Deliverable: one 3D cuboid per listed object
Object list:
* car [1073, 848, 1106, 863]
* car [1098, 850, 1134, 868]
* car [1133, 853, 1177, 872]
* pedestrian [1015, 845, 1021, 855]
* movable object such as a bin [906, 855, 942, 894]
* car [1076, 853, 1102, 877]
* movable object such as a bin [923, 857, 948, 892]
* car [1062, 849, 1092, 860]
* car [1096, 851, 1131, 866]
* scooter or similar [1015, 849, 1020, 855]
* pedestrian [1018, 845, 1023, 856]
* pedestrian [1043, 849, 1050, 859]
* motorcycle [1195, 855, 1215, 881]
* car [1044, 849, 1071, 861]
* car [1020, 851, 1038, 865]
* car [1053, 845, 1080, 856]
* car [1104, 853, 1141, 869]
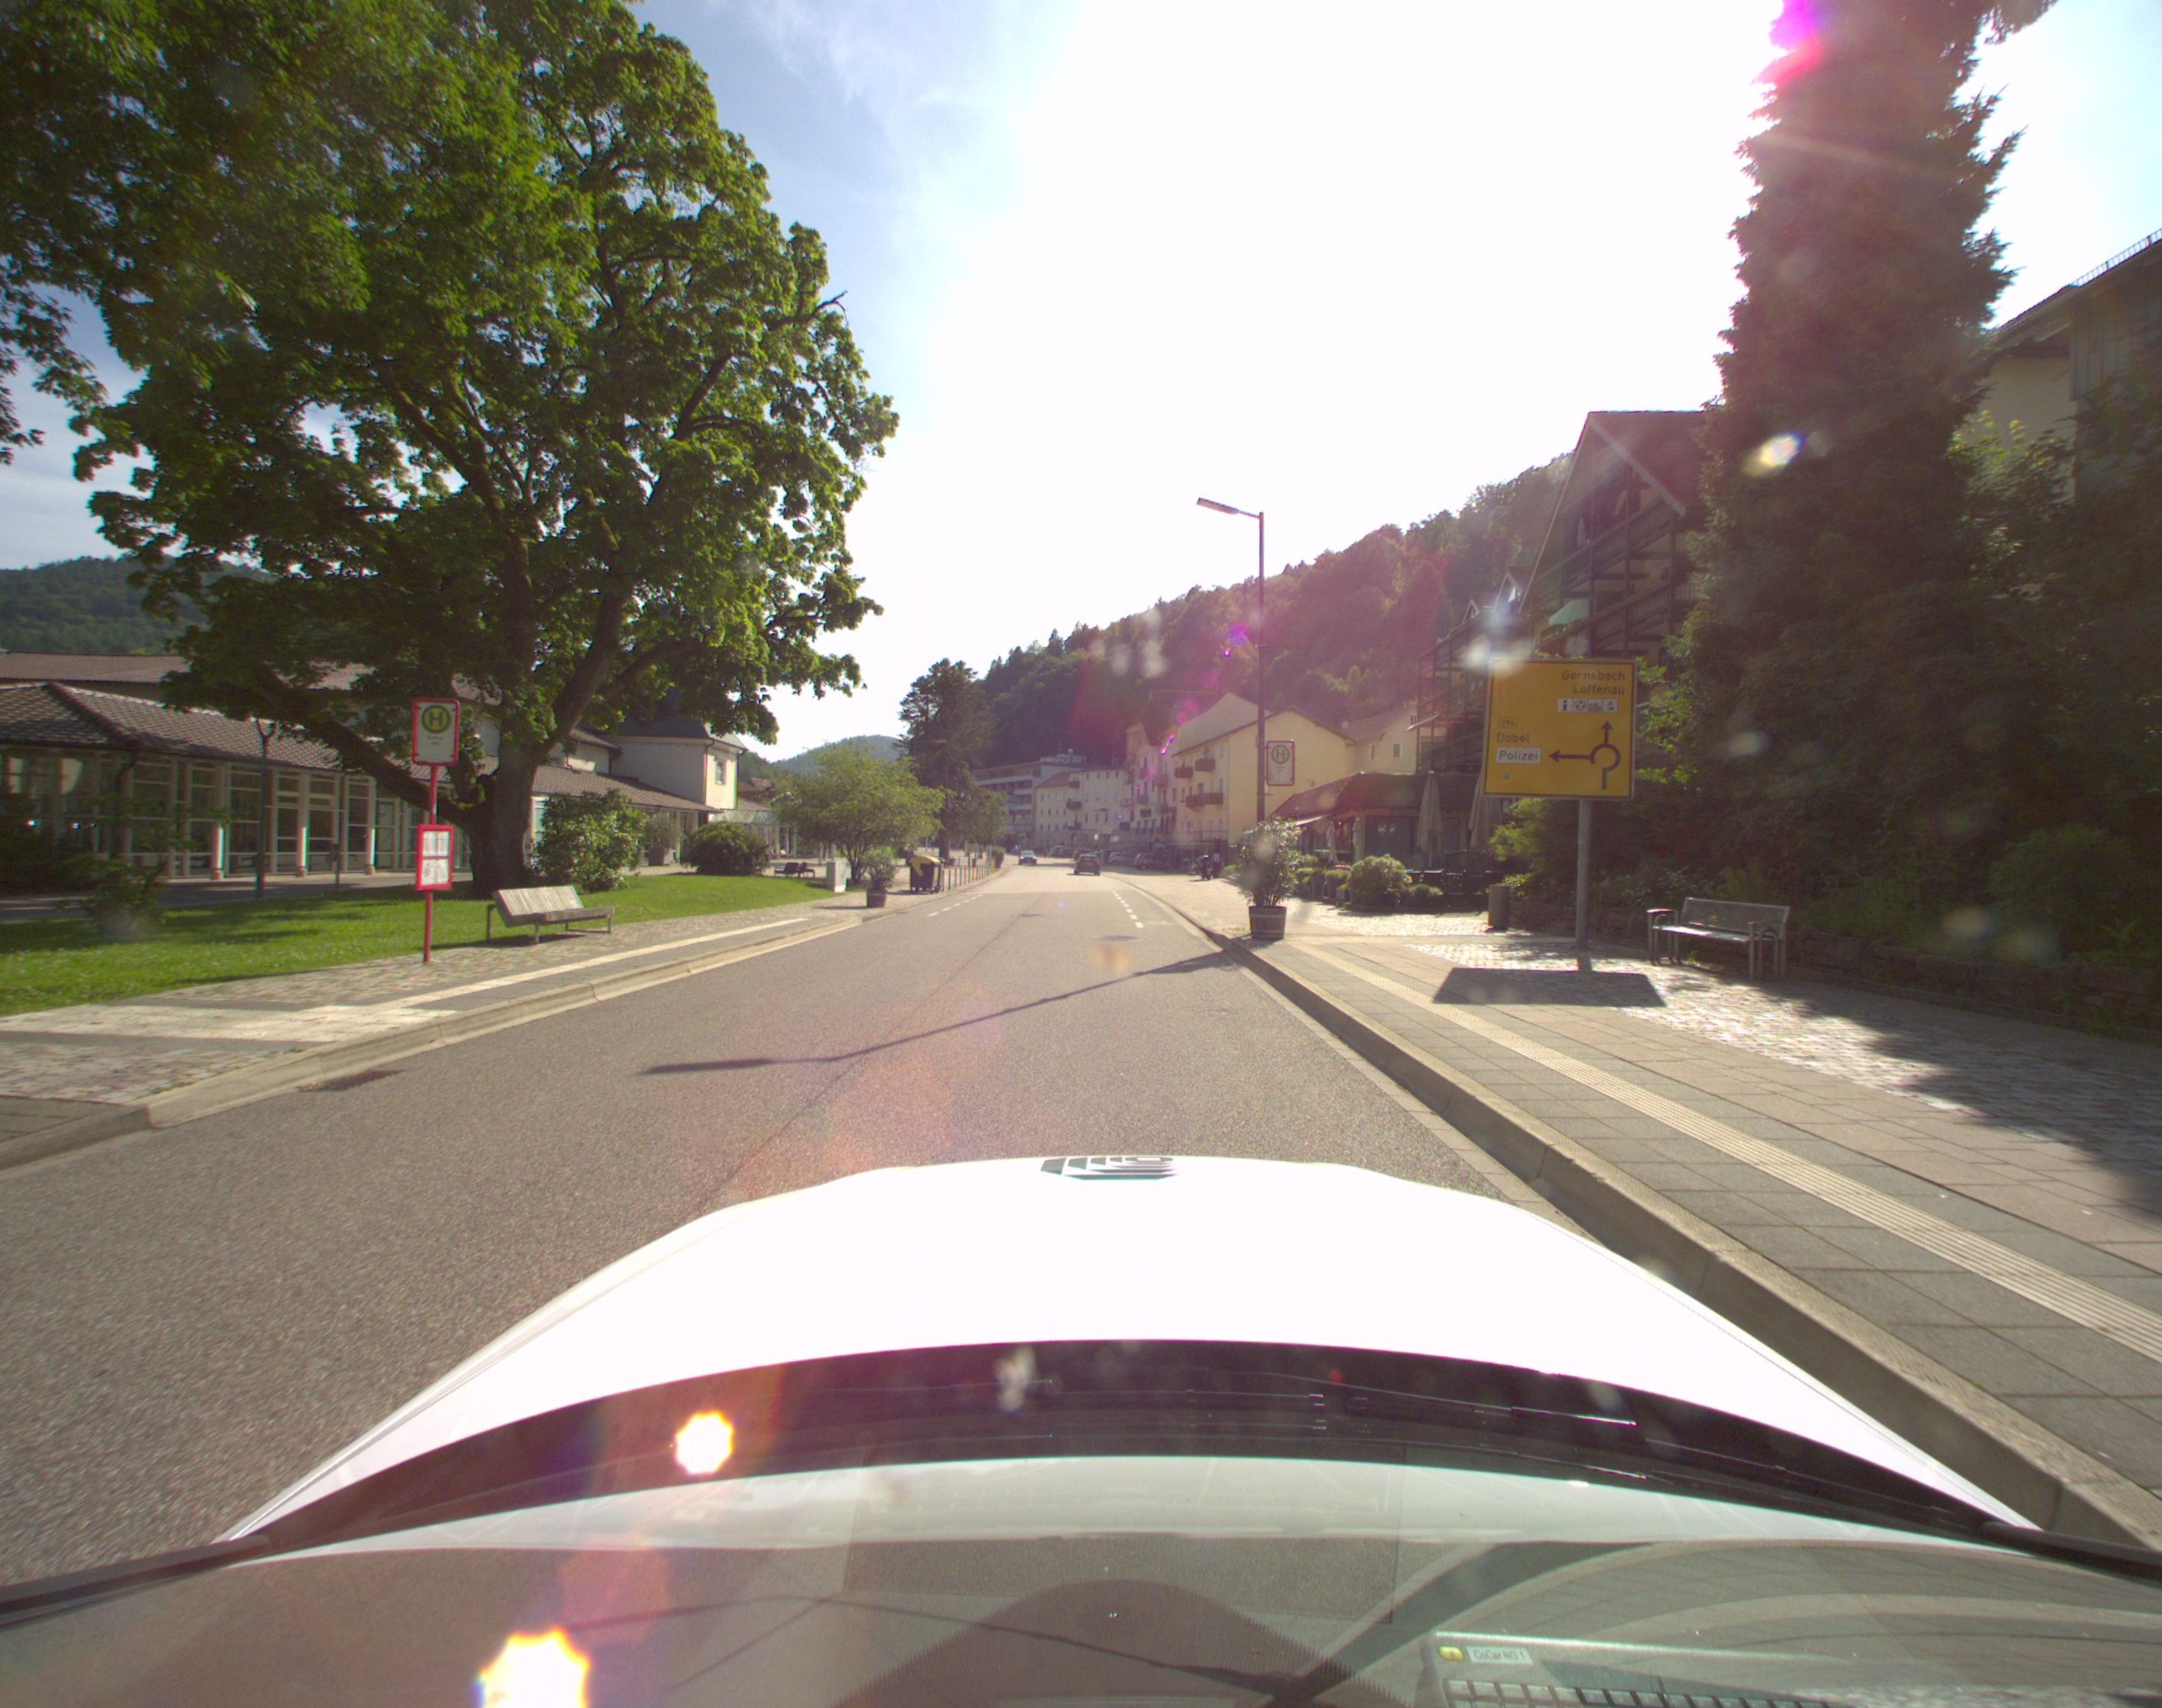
[{"bbox_3d":[1.076,0.242,108.915,4.081,1.666,1.768,4,0,-8],"label":"car"},{"bbox_3d":[4.082,0.569,95.055,3.906,1.804,1.852,4,-1,-8],"label":"car"},{"bbox_3d":[7.134,0.832,78.701,3.860,1.554,1.754,4,0,-11],"label":"car"},{"bbox_3d":[-10.446,-0.713,134.843,0.762,1.593,0.622,2,0,-30],"label":"pedestrian"},{"bbox_3d":[-6.085,0.787,31.633,1.075,1.427,1.376,3,0,-1],"label":"movable object such as a bin"},{"bbox_3d":[0.568,0.811,61.022,1.722,1.574,3.751,3,2,-1],"label":"car"},{"bbox_3d":[-5.963,0.832,33.465,0.753,1.341,1.294,3,0,-1],"label":"movable object such as a bin"},{"bbox_3d":[-0.589,0.044,119.434,4.033,1.516,1.757,-2,3,-28],"label":"car"},{"bbox_3d":[3.867,0.535,97.795,3.906,1.461,1.732,4,0,-8],"label":"car"},{"bbox_3d":[-10.539,-0.385,134.993,0.600,0.950,0.470,2,0,-31],"label":"scooter or similar"},{"bbox_3d":[-10.127,-0.585,136.208,0.673,1.728,0.701,2,0,-30],"label":"pedestrian"},{"bbox_3d":[-5.019,0.040,118.391,0.740,1.442,0.626,-1,1,-34],"label":"pedestrian"},{"bbox_3d":[6.651,0.739,43.775,0.695,1.296,2.211,-1,0,-1],"label":"motorcycle"},{"bbox_3d":[-3.704,0.114,126.846,3.883,1.612,1.757,-2,3,-28],"label":"car"},{"bbox_3d":[-5.495,0.396,86.171,1.736,1.462,4.184,-1,0,-2],"label":"car"},{"bbox_3d":[-2.210,-0.569,124.105,3.883,1.549,1.757,-2,3,-28],"label":"car"},{"bbox_3d":[4.705,0.775,92.338,3.907,1.589,1.770,4,0,-8],"label":"car"}]
